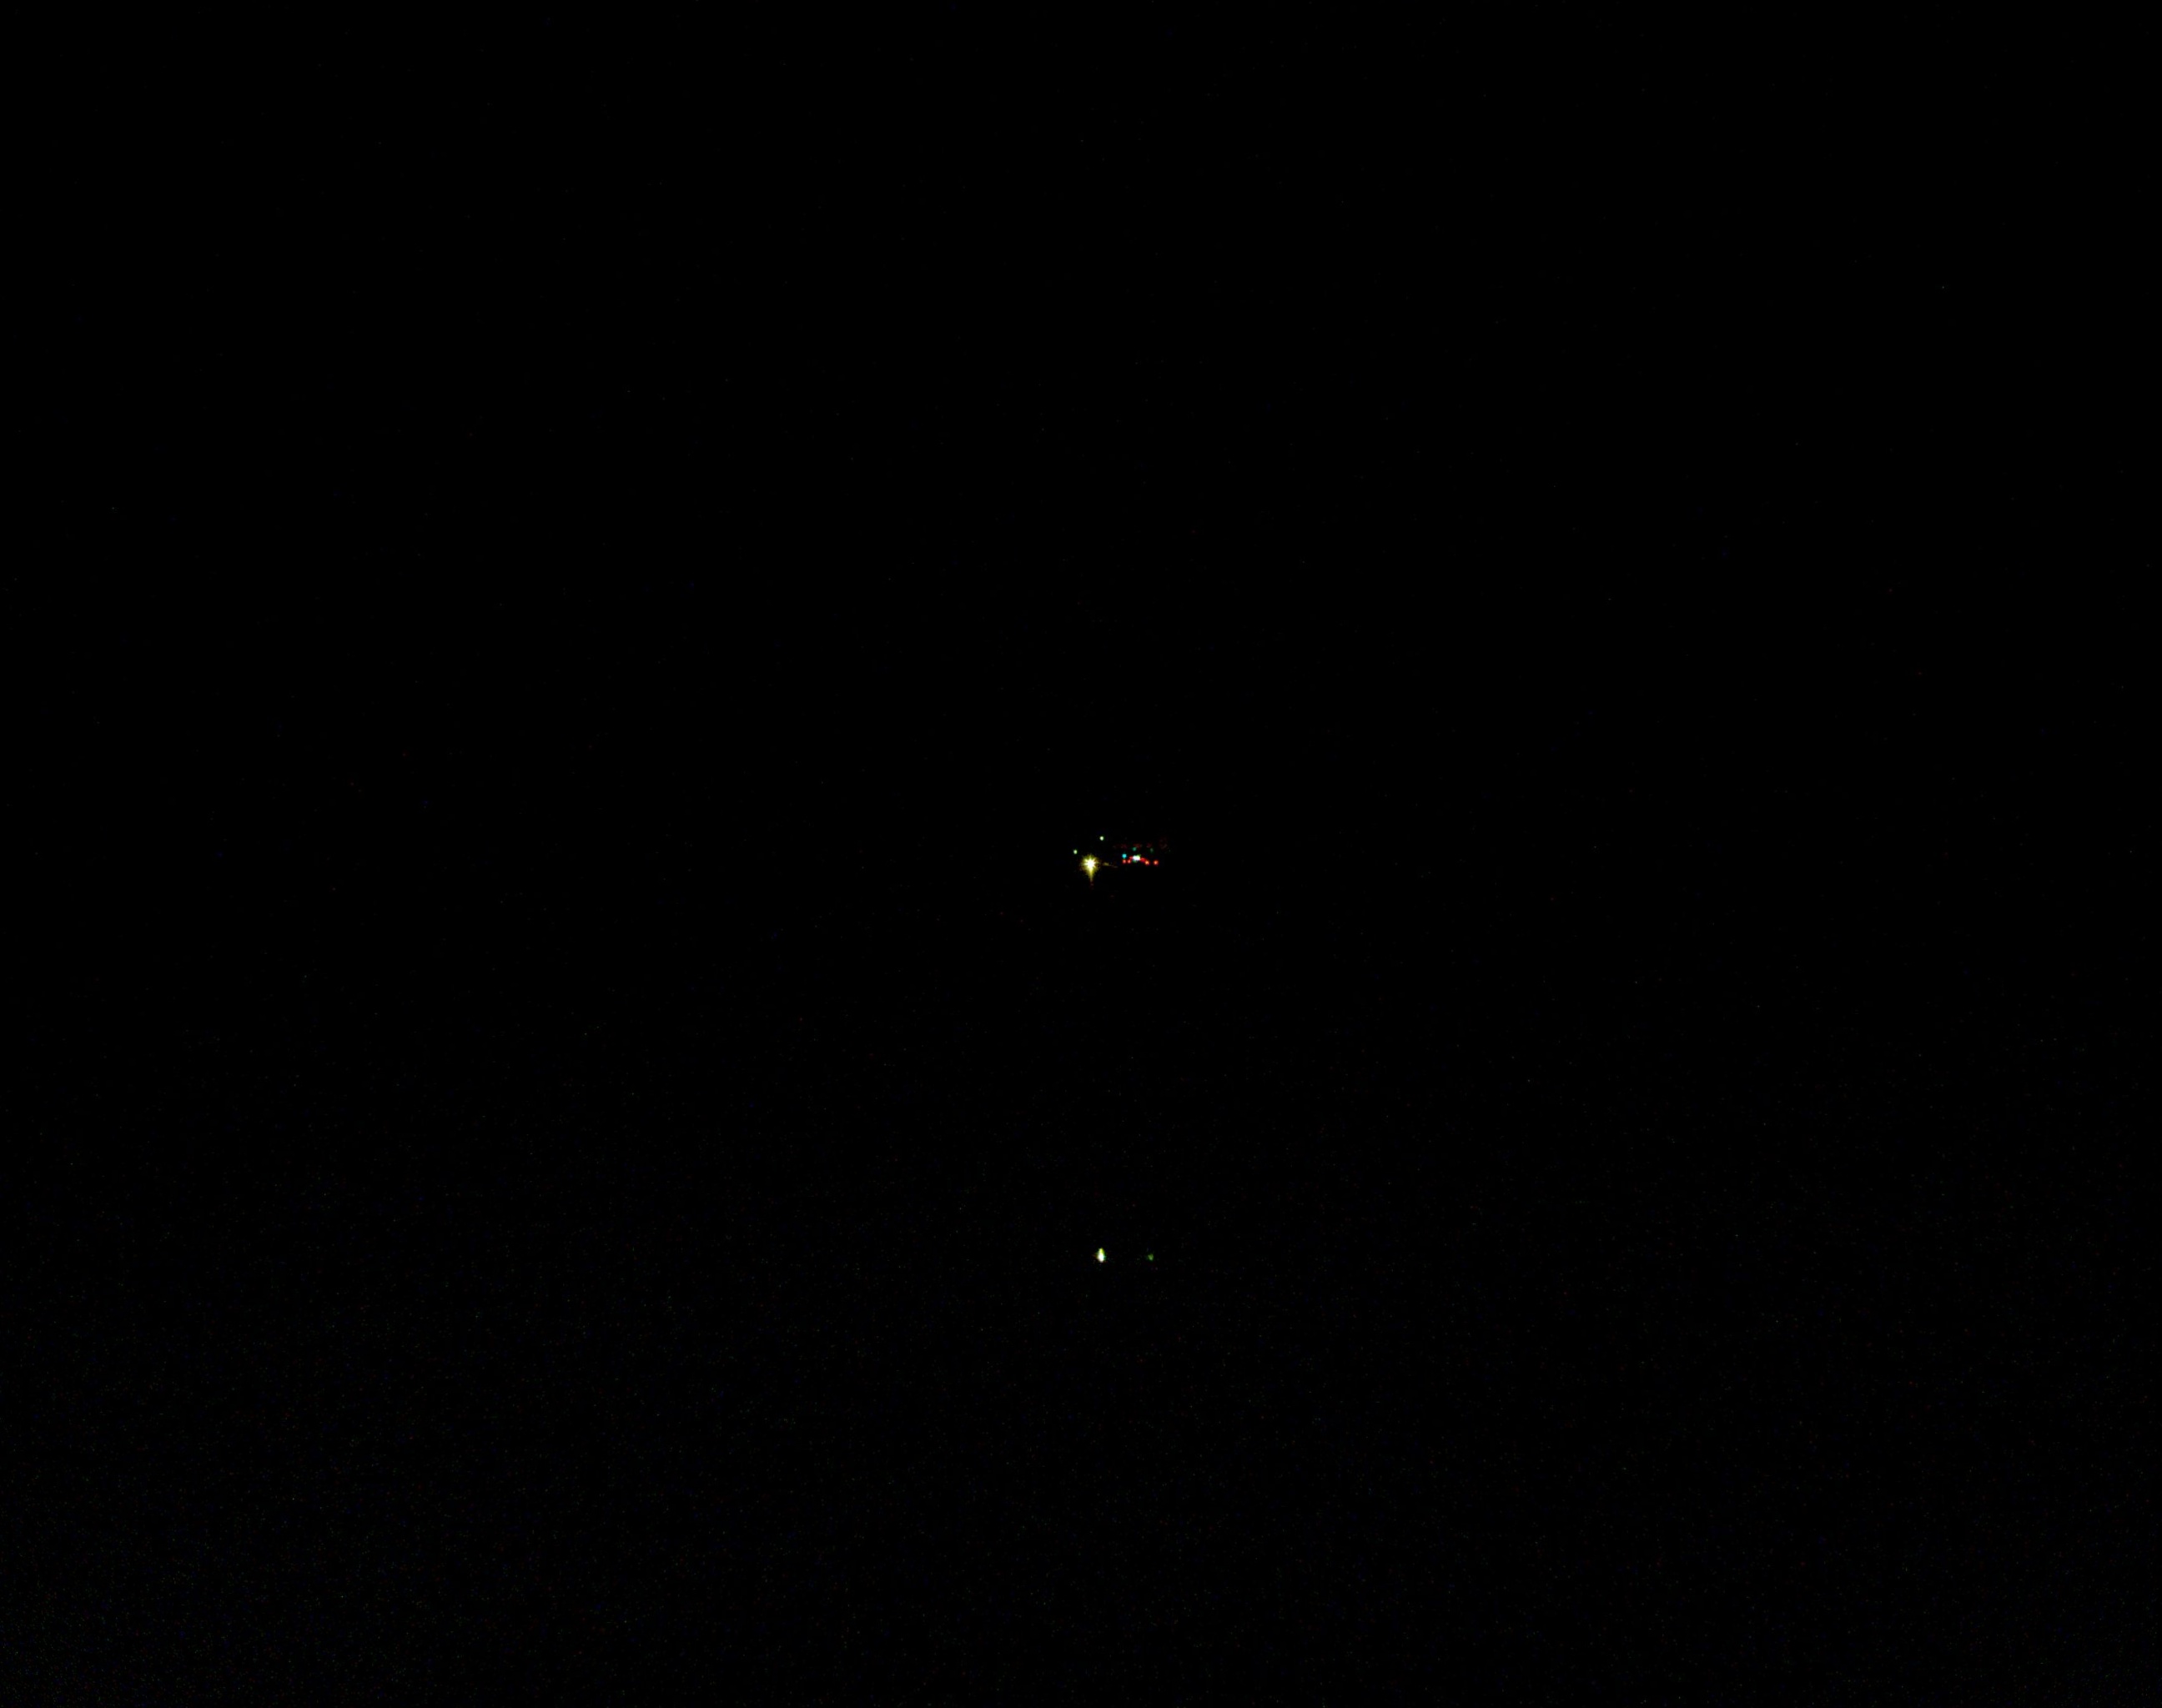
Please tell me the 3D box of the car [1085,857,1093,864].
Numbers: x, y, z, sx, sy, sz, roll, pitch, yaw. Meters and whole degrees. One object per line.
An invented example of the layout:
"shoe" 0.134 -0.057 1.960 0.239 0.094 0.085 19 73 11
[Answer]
"car" 1.514 1.353 150.346 1.570 1.336 4.167 -2 0 0

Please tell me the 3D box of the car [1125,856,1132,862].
"car" 13.648 1.351 218.058 1.687 1.578 4.167 -2 0 0

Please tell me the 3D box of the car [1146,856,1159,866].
"car" 11.344 1.079 120.921 1.621 1.498 3.868 -2 0 0
